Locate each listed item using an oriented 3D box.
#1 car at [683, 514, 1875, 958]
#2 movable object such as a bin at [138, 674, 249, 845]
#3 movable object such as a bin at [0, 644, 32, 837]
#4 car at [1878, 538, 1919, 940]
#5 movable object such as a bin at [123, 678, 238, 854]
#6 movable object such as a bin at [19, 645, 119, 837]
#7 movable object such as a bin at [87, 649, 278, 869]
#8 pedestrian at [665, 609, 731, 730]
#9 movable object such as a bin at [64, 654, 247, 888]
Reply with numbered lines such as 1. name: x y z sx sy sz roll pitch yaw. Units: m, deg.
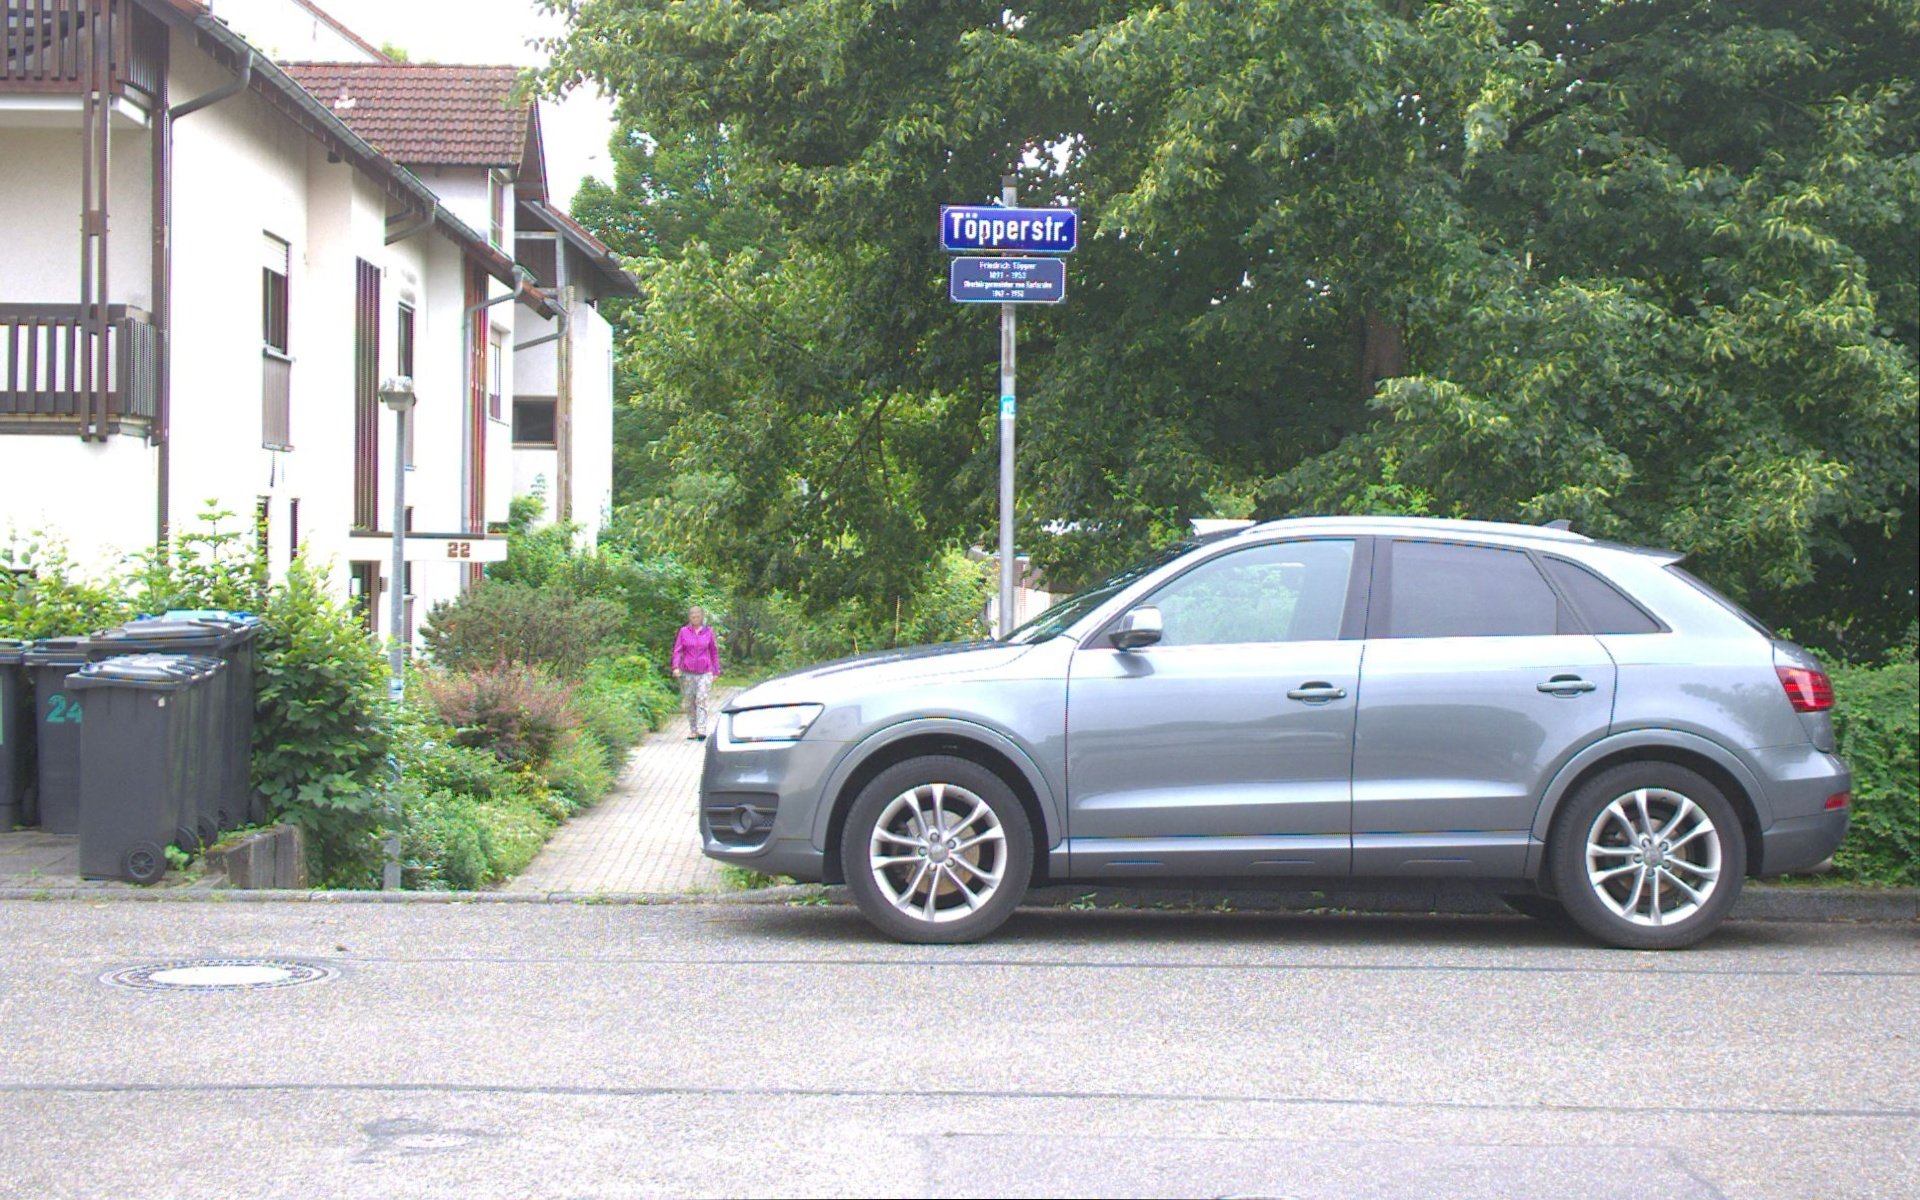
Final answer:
1. car: 1.115 0.496 13.088 4.236 1.526 1.747 1 -1 -2
2. movable object such as a bin: -3.707 0.769 16.639 0.459 0.795 0.379 1 1 -4
3. movable object such as a bin: -4.691 0.668 16.474 0.386 0.898 0.379 1 1 -4
4. car: 5.730 0.551 12.793 4.182 1.526 1.747 1 -1 3
5. movable object such as a bin: -3.678 0.778 16.234 0.459 0.795 0.379 1 1 -4
6. movable object such as a bin: -4.272 0.672 16.496 0.386 0.886 0.379 1 1 -4
7. movable object such as a bin: -3.538 0.716 15.685 0.733 0.950 0.584 2 1 -2
8. pedestrian: -3.308 0.872 43.417 0.815 1.512 0.438 0 0 -4
9. movable object such as a bin: -3.493 0.733 14.970 0.638 0.950 0.723 1 1 -3
